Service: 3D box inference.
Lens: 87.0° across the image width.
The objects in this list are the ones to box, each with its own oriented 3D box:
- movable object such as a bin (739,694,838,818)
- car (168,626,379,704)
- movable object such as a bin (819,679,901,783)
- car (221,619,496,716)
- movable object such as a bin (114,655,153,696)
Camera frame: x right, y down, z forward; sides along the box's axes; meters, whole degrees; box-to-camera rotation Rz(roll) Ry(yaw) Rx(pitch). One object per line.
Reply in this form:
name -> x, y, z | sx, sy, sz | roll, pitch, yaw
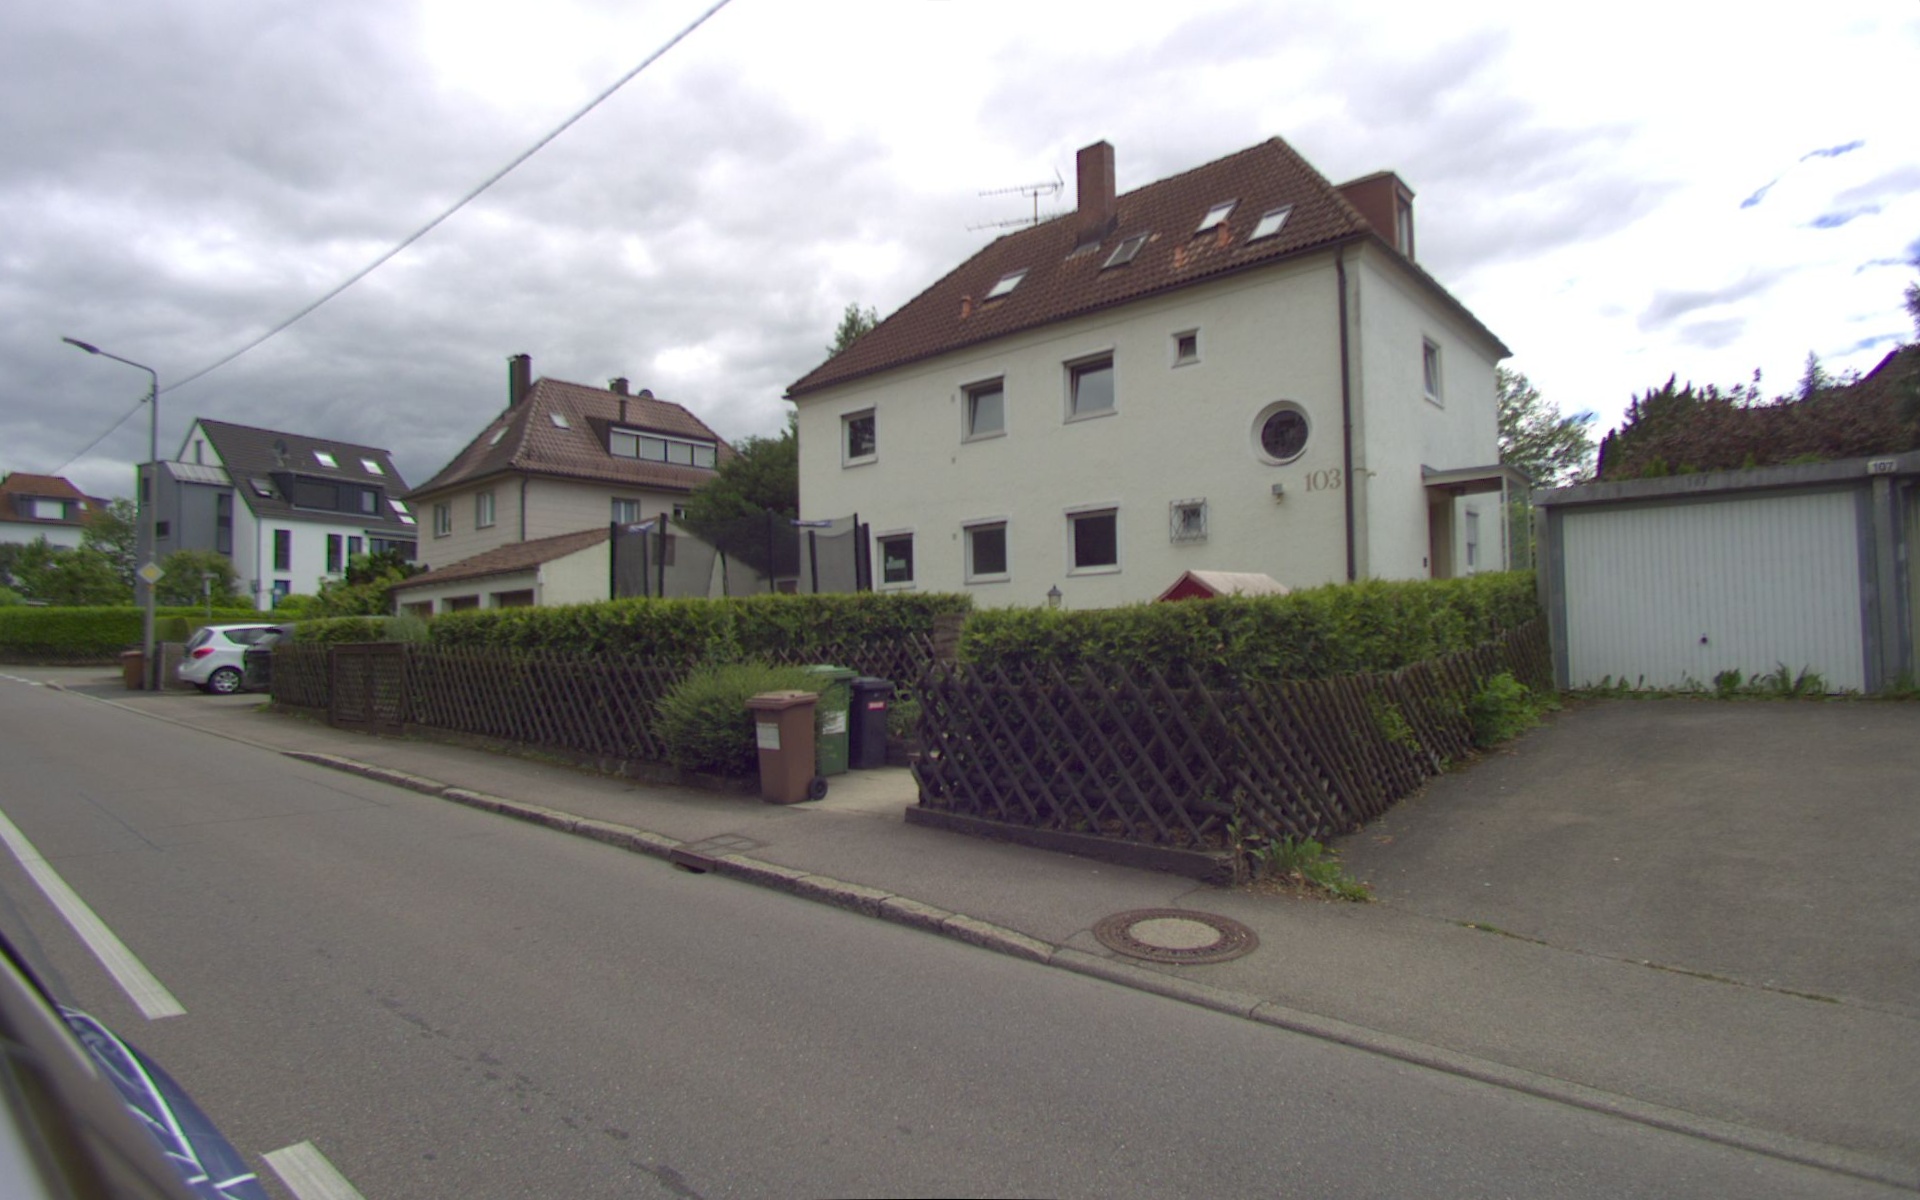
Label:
movable object such as a bin -> -1.435, 1.279, 8.458 | 0.624, 0.920, 0.561 | 0, -2, -36
car -> -16.625, 1.498, 24.662 | 1.718, 1.606, 3.945 | -2, 0, 41
movable object such as a bin -> -0.994, 1.283, 10.092 | 0.512, 0.960, 0.626 | -2, -3, 45
car -> -12.541, 1.312, 21.364 | 1.881, 1.682, 4.623 | -2, 0, 40
movable object such as a bin -> -20.420, 1.861, 25.008 | 0.678, 0.961, 0.573 | 1, -3, -34
